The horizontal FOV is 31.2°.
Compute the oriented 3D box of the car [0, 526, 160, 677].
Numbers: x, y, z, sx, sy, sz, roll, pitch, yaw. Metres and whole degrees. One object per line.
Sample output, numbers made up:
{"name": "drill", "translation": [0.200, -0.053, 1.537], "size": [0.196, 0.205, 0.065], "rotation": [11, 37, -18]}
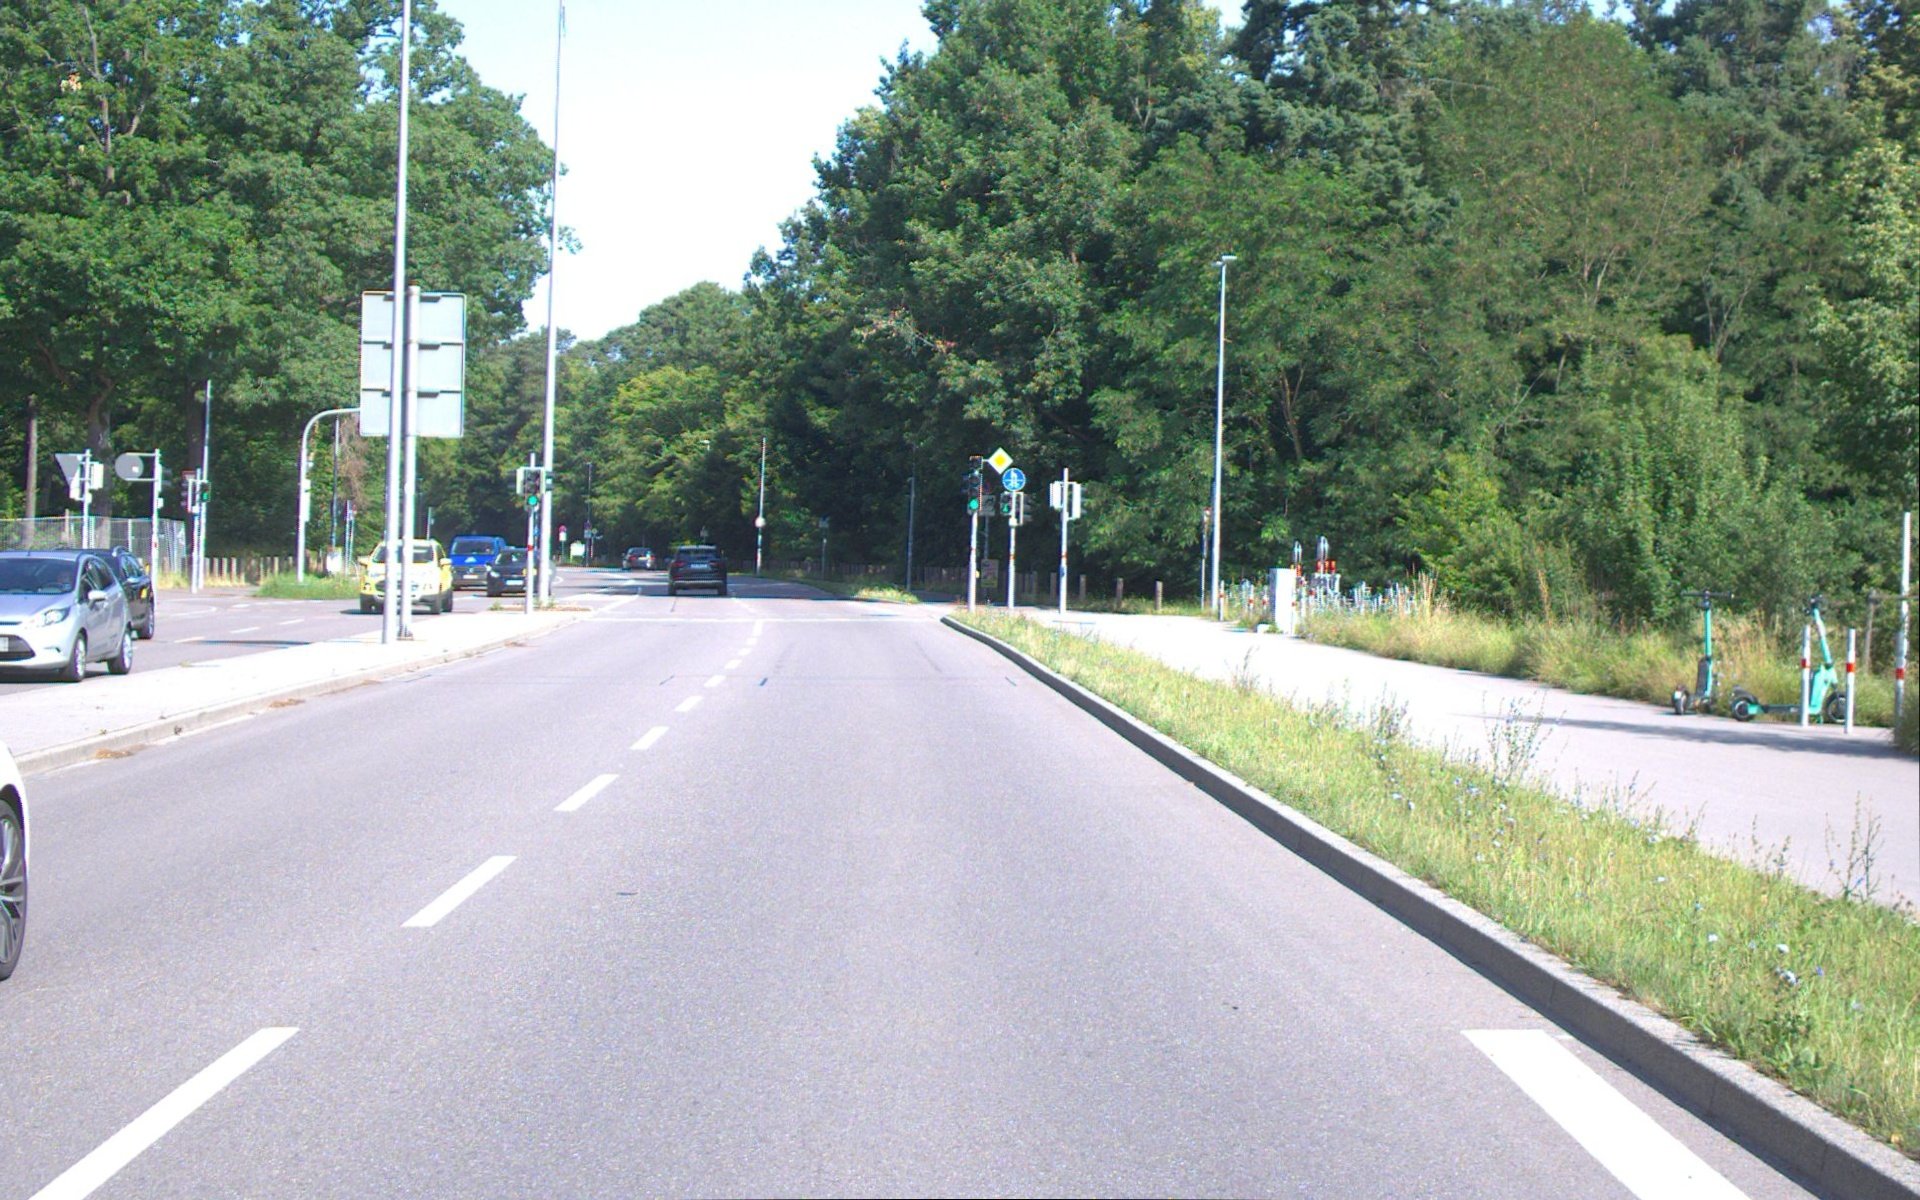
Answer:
{"name": "car", "translation": [-10.475, -0.026, 38.943], "size": [1.909, 1.579, 4.000], "rotation": [2, 1, -1]}

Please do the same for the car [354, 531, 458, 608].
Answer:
{"name": "car", "translation": [-12.349, -0.703, 76.840], "size": [1.846, 1.612, 4.001], "rotation": [2, 1, -4]}

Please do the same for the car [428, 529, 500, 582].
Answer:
{"name": "car", "translation": [-17.217, -1.548, 119.486], "size": [1.929, 1.766, 4.000], "rotation": [2, 1, -1]}

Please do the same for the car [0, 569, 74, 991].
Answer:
{"name": "car", "translation": [-4.119, 0.644, 10.329], "size": [1.725, 1.422, 4.720], "rotation": [0, 1, 0]}

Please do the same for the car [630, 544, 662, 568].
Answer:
{"name": "car", "translation": [-19.365, -2.723, 211.905], "size": [1.940, 1.415, 4.294], "rotation": [1, 1, -6]}

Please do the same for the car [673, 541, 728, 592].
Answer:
{"name": "car", "translation": [-8.202, -1.068, 108.761], "size": [1.687, 1.539, 4.149], "rotation": [0, 1, -4]}

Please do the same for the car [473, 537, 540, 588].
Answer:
{"name": "car", "translation": [-13.953, -1.166, 105.842], "size": [1.819, 1.459, 4.001], "rotation": [2, 1, -5]}
